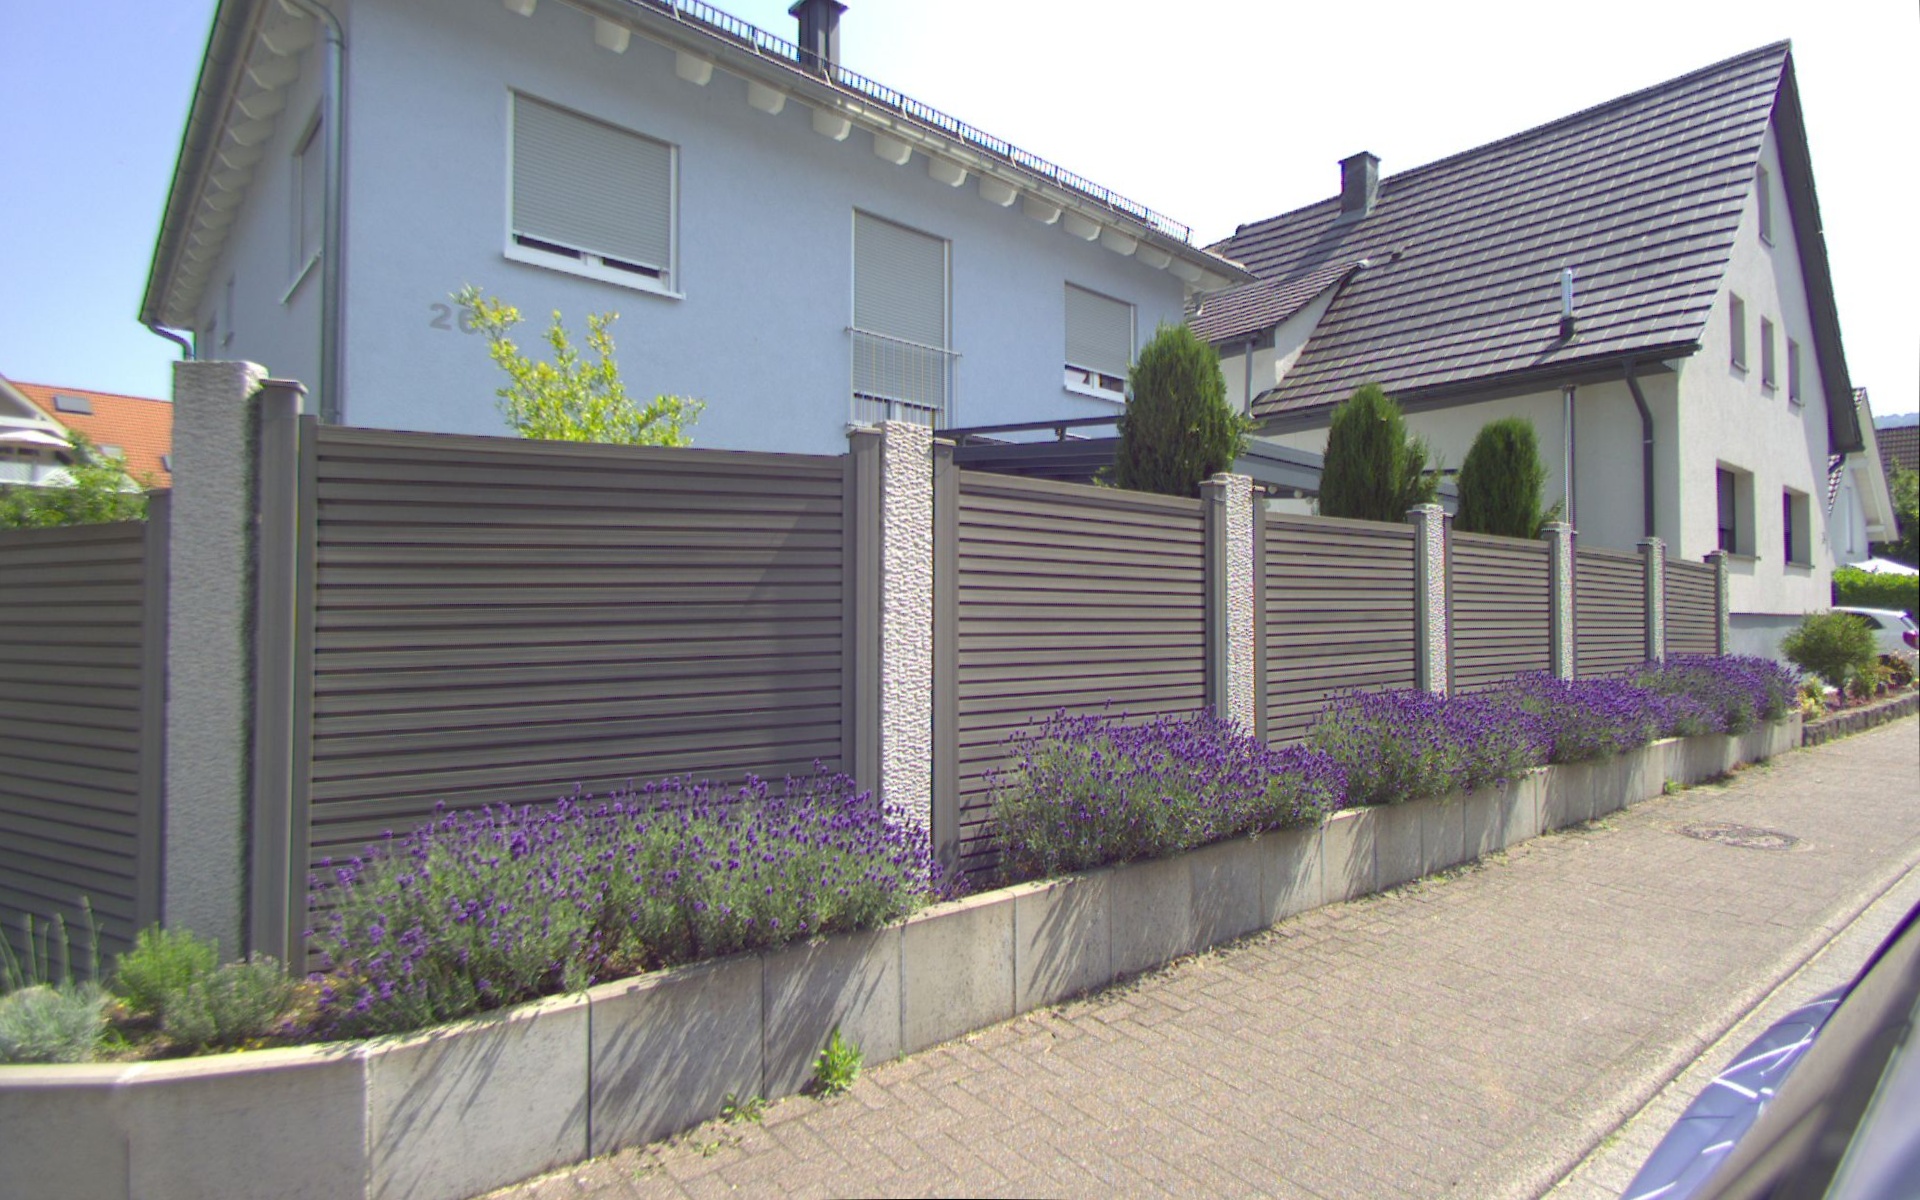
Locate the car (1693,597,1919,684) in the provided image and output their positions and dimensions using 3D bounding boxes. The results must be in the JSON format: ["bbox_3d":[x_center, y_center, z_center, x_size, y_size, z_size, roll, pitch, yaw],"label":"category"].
[{"bbox_3d":[16.704,0.737,19.709,1.735,1.493,3.663,2,0,-42],"label":"car"}]
